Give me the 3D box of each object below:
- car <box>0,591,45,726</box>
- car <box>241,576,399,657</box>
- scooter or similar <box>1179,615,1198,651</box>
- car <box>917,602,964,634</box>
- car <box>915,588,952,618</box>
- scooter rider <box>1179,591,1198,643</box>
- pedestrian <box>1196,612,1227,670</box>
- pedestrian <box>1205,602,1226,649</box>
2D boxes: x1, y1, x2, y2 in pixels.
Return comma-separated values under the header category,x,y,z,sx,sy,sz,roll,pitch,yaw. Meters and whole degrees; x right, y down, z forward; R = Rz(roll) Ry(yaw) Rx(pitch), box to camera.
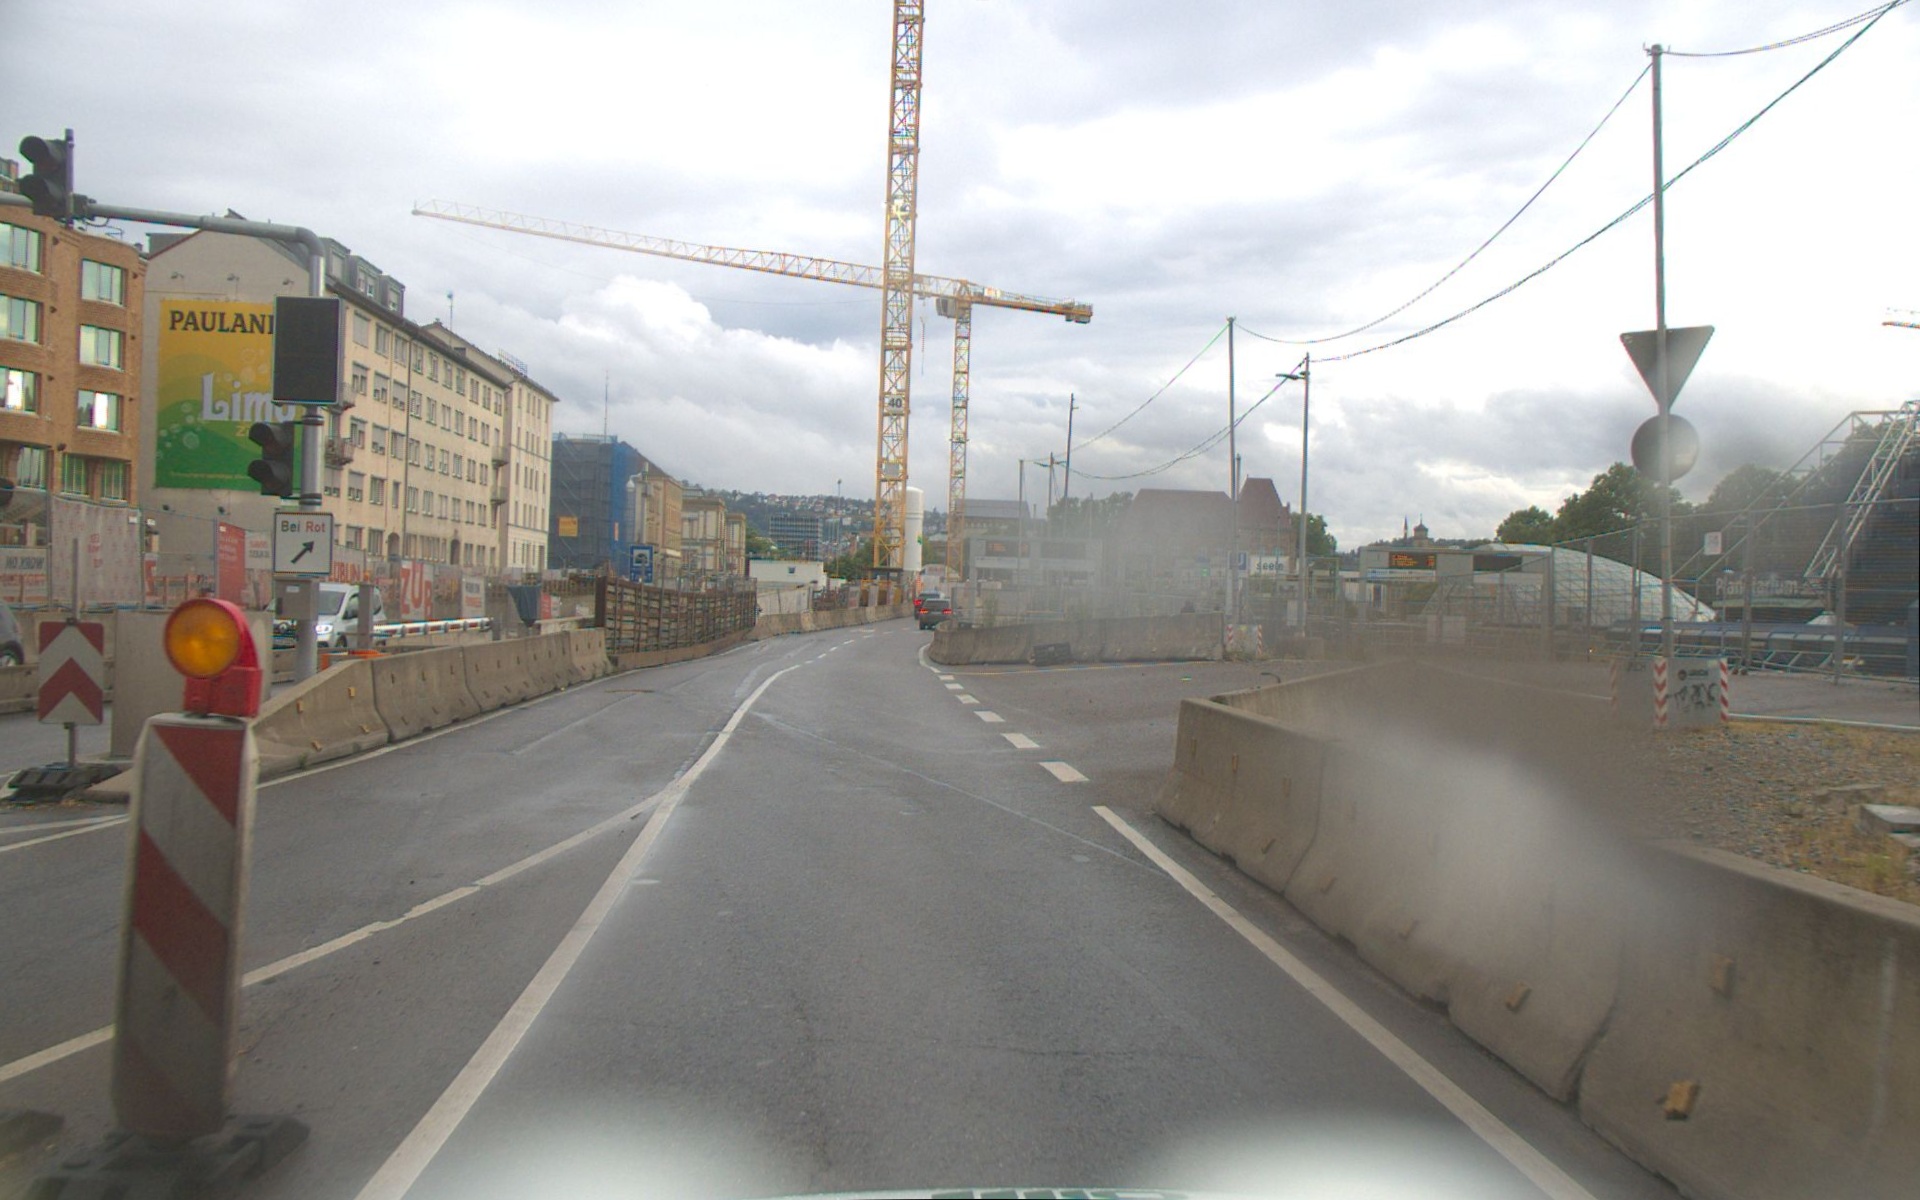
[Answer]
category,x,y,z,sx,sy,sz,roll,pitch,yaw
car,-12.778,0.742,19.439,1.769,1.651,4.034,1,1,0
car,-13.497,0.312,35.169,1.712,1.576,4.521,1,0,-2
scooter or similar,7.947,1.132,57.478,0.480,1.200,1.096,1,0,18
car,-0.899,0.868,79.658,1.824,1.458,4.658,1,0,4
car,-1.575,0.172,100.005,1.824,1.689,4.658,2,1,3
scooter rider,7.934,0.597,57.407,0.510,1.786,0.700,1,0,18
pedestrian,8.020,1.296,52.681,0.679,1.809,0.811,1,-1,-19
pedestrian,9.958,0.973,64.490,0.675,1.809,1.023,1,-1,0
